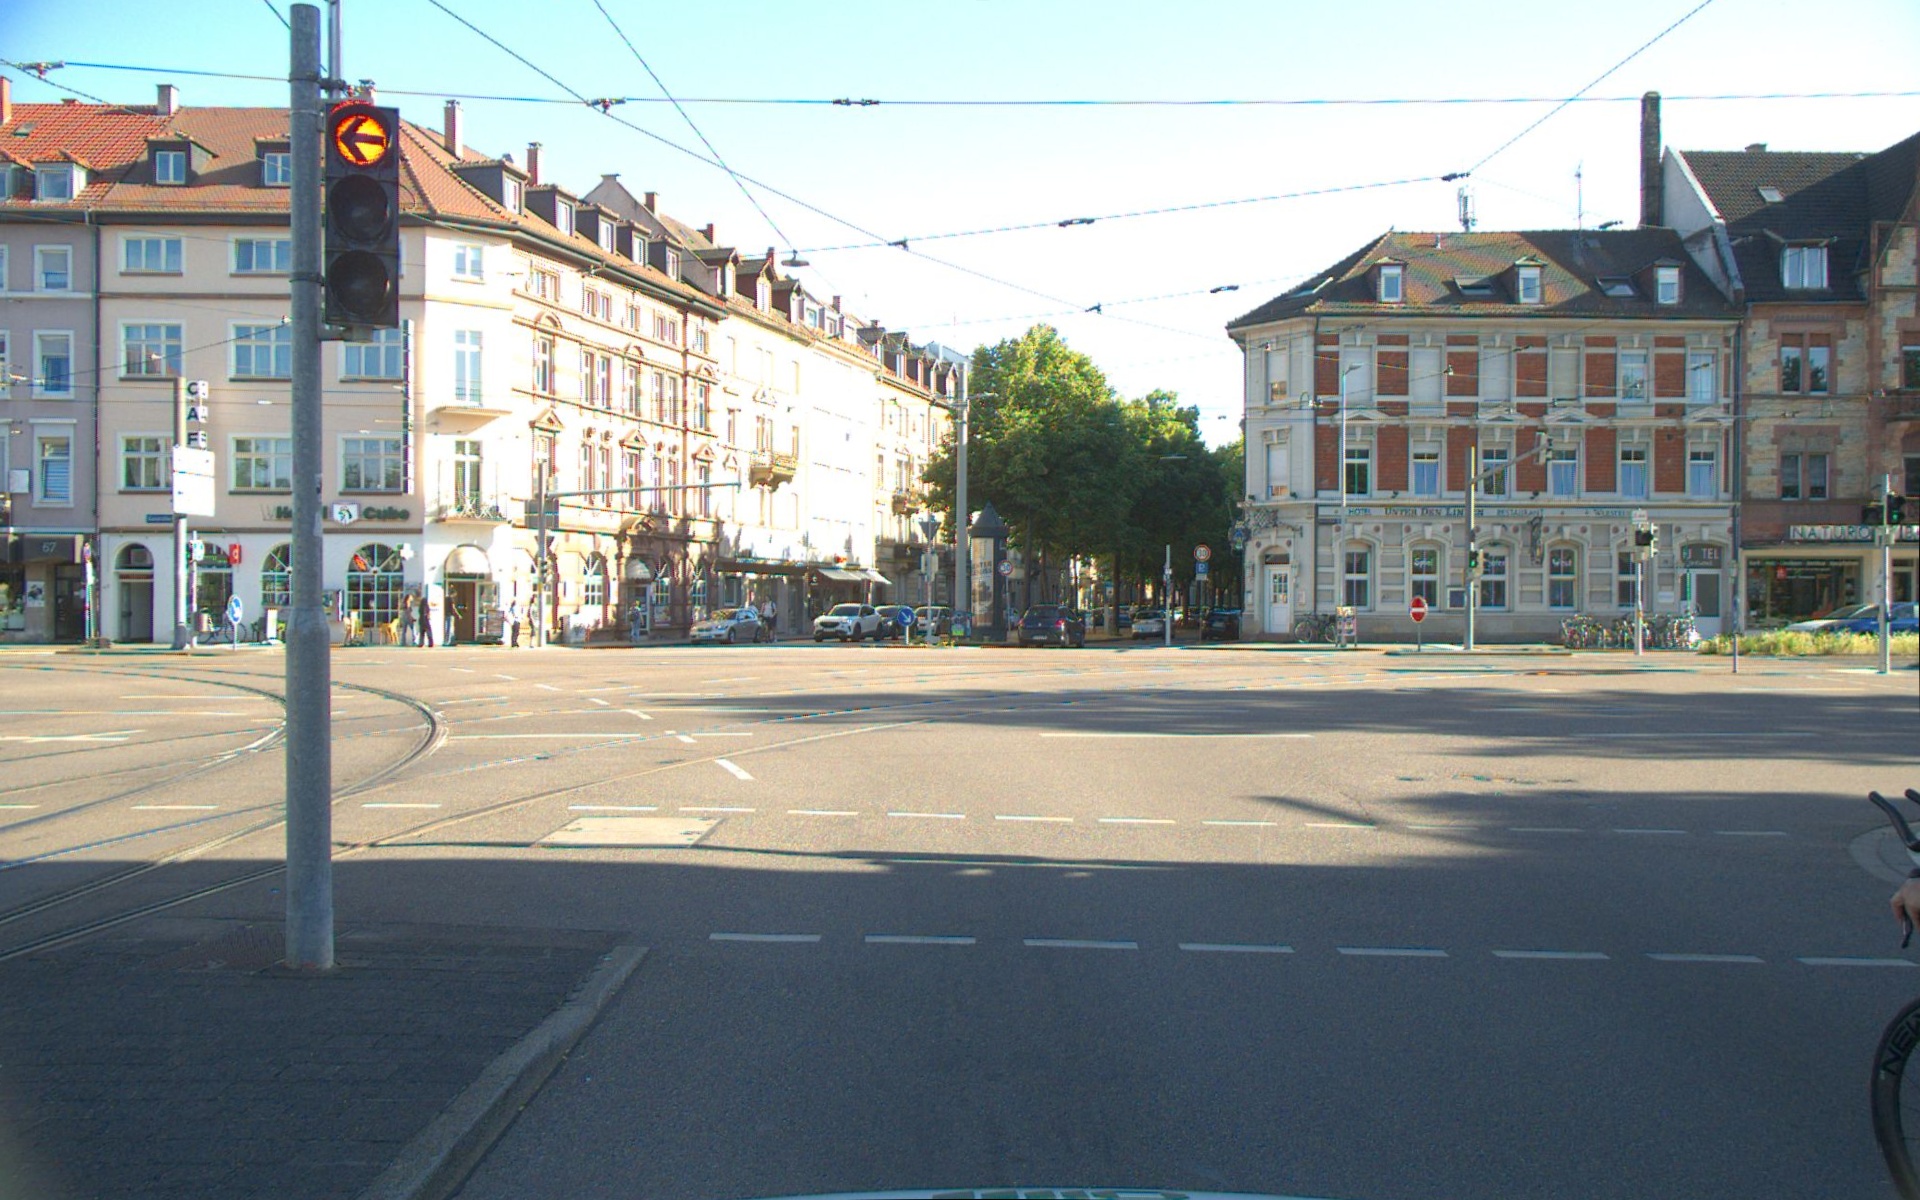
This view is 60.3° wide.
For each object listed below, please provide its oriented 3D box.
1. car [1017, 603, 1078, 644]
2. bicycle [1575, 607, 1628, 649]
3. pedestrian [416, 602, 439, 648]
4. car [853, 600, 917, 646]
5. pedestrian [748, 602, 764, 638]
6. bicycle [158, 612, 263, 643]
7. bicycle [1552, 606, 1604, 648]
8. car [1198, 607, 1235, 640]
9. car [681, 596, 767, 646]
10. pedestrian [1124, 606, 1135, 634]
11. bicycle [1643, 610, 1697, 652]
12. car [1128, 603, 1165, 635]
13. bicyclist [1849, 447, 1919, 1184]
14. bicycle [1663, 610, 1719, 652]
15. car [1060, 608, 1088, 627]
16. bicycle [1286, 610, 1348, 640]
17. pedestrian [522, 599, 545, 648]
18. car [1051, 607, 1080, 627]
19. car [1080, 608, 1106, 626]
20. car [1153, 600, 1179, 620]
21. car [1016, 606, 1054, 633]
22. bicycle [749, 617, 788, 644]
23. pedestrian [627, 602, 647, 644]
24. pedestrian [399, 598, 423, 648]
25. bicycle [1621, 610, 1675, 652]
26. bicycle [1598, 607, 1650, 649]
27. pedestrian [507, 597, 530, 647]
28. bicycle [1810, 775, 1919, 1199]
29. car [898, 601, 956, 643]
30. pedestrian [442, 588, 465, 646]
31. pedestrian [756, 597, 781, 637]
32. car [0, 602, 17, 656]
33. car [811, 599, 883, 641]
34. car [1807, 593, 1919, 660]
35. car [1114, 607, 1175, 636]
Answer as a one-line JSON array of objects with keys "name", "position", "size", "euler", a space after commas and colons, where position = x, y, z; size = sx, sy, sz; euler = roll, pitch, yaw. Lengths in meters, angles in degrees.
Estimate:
[{"name": "car", "position": [3.138, 0.809, 58.683], "size": [1.716, 1.386, 3.859], "euler": [1, 0, 10]}, {"name": "bicycle", "position": [20.597, 0.889, 53.126], "size": [0.678, 1.309, 2.661], "euler": [1, 0, 0]}, {"name": "pedestrian", "position": [-17.521, 0.809, 54.417], "size": [0.620, 1.502, 0.465], "euler": [1, -1, -5]}, {"name": "car", "position": [-3.302, 1.010, 73.600], "size": [1.951, 1.937, 4.003], "euler": [1, 0, 11]}, {"name": "pedestrian", "position": [-9.410, 0.914, 76.335], "size": [0.532, 1.660, 0.707], "euler": [1, -1, 13]}, {"name": "bicycle", "position": [-25.515, 0.942, 56.350], "size": [3.066, 0.997, 1.001], "euler": [1, 0, -1]}, {"name": "bicycle", "position": [19.831, 0.853, 53.121], "size": [0.678, 1.309, 2.661], "euler": [1, 0, 0]}, {"name": "car", "position": [12.870, 1.143, 82.774], "size": [1.655, 1.592, 3.844], "euler": [1, 0, 11]}, {"name": "car", "position": [-9.511, 0.829, 66.931], "size": [1.951, 1.937, 4.002], "euler": [1, 0, 17]}, {"name": "pedestrian", "position": [11.233, 1.302, 109.751], "size": [0.626, 1.827, 0.491], "euler": [1, -1, 12]}, {"name": "bicycle", "position": [22.800, 0.979, 53.174], "size": [0.615, 1.309, 2.661], "euler": [1, 0, 0]}, {"name": "car", "position": [9.337, 0.938, 83.011], "size": [1.734, 1.557, 4.002], "euler": [1, 0, 5]}, {"name": "bicyclist", "position": [2.292, 0.453, 3.238], "size": [0.625, 1.520, 0.884], "euler": [1, 1, 3]}, {"name": "bicycle", "position": [23.484, 0.987, 53.173], "size": [0.615, 1.309, 2.661], "euler": [1, 0, 0]}, {"name": "car", "position": [9.443, 1.458, 136.437], "size": [1.526, 1.540, 3.658], "euler": [1, 0, 16]}, {"name": "bicycle", "position": [12.352, 0.872, 57.271], "size": [2.006, 1.015, 0.631], "euler": [1, 0, 2]}, {"name": "pedestrian", "position": [-14.664, 0.802, 56.887], "size": [0.620, 1.662, 0.700], "euler": [1, -1, -4]}, {"name": "car", "position": [8.471, 1.366, 132.108], "size": [1.526, 1.540, 3.658], "euler": [1, 0, 16]}, {"name": "car", "position": [11.507, 1.485, 142.564], "size": [1.526, 1.540, 3.658], "euler": [1, 0, 16]}, {"name": "car", "position": [16.816, 0.829, 134.928], "size": [1.526, 1.540, 3.658], "euler": [1, 0, 16]}, {"name": "car", "position": [5.600, 1.420, 122.827], "size": [1.951, 1.937, 4.002], "euler": [1, 0, 16]}, {"name": "bicycle", "position": [-7.528, 1.205, 65.157], "size": [0.746, 1.025, 2.398], "euler": [1, 0, 13]}, {"name": "pedestrian", "position": [-12.787, 0.900, 65.532], "size": [0.532, 1.660, 0.707], "euler": [1, -1, 13]}, {"name": "pedestrian", "position": [-18.253, 0.775, 55.012], "size": [0.620, 1.640, 0.465], "euler": [1, -1, -5]}, {"name": "bicycle", "position": [22.085, 0.969, 53.150], "size": [0.615, 1.309, 2.661], "euler": [1, 0, 0]}, {"name": "bicycle", "position": [21.308, 0.892, 53.148], "size": [0.615, 1.309, 2.661], "euler": [1, 0, 0]}, {"name": "pedestrian", "position": [-14.859, 0.752, 55.670], "size": [0.620, 1.662, 0.700], "euler": [1, -1, -4]}, {"name": "bicycle", "position": [2.290, 0.966, 3.049], "size": [0.613, 1.104, 1.703], "euler": [1, 0, 2]}, {"name": "car", "position": [-1.544, 1.065, 79.596], "size": [1.951, 1.937, 4.003], "euler": [1, 0, 11]}, {"name": "pedestrian", "position": [-16.979, 0.566, 55.490], "size": [0.620, 1.914, 0.465], "euler": [1, -1, -5]}, {"name": "pedestrian", "position": [-7.540, 0.666, 65.086], "size": [0.803, 1.539, 0.598], "euler": [1, -1, 14]}, {"name": "car", "position": [-32.385, 0.913, 52.429], "size": [3.902, 1.699, 2.002], "euler": [0, 0, 8]}, {"name": "car", "position": [-4.563, 0.794, 67.317], "size": [1.951, 1.646, 4.003], "euler": [1, 0, 11]}, {"name": "car", "position": [25.933, 0.741, 46.049], "size": [3.706, 1.809, 1.999], "euler": [1, 0, -2]}, {"name": "car", "position": [12.853, 1.460, 115.151], "size": [3.902, 1.937, 2.001], "euler": [1, 0, 15]}]
